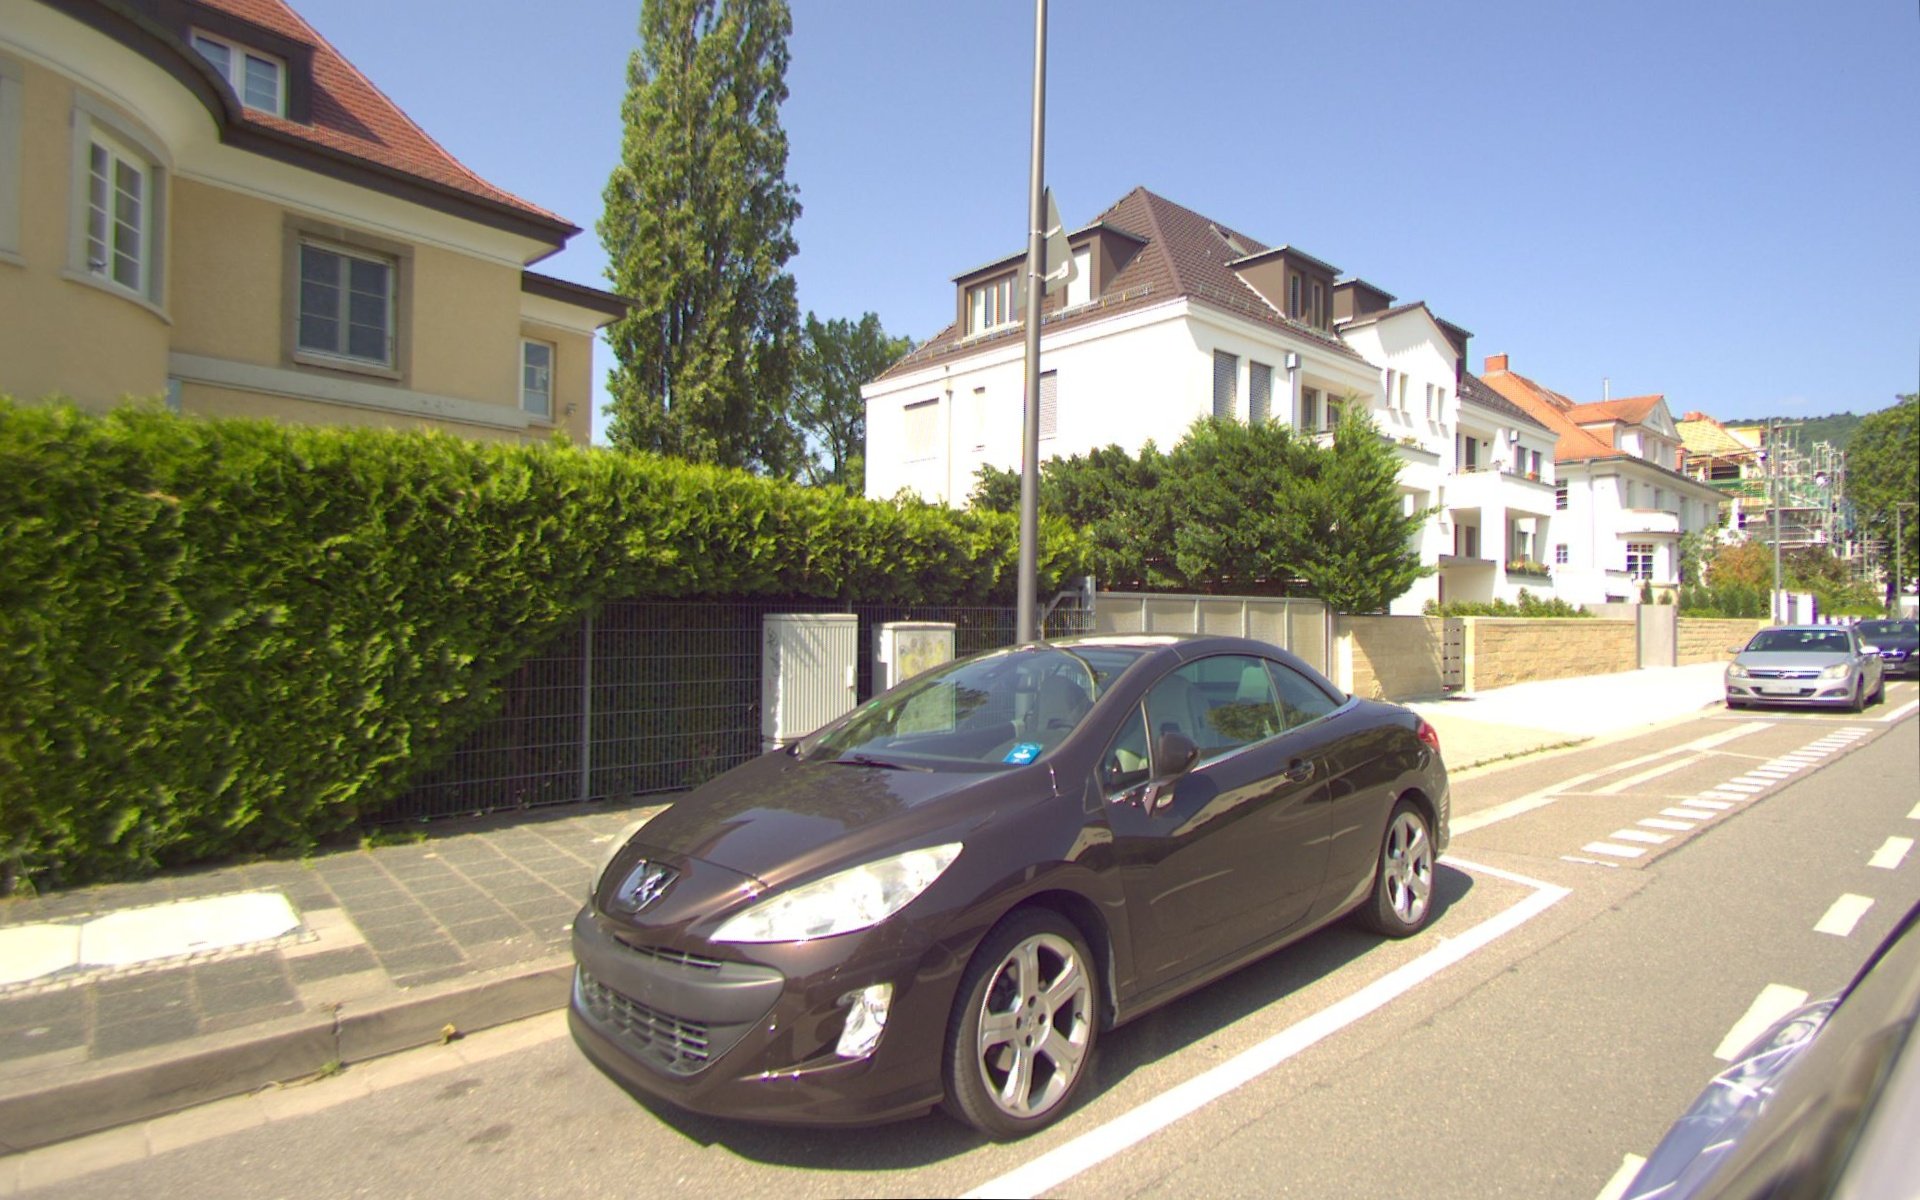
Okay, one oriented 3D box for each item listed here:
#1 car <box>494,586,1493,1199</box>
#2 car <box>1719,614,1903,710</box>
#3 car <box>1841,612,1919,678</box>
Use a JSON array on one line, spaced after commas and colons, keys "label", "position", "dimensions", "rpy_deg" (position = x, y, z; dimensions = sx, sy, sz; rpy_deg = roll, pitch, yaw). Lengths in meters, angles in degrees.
[{"label": "car", "position": [0.529, 0.754, 4.341], "dimensions": [4.272, 1.487, 1.738], "rpy_deg": [0, -3, -43]}, {"label": "car", "position": [14.332, 0.975, 16.972], "dimensions": [4.006, 1.346, 1.738], "rpy_deg": [-1, -3, -42]}, {"label": "car", "position": [22.832, 1.047, 24.566], "dimensions": [4.098, 1.468, 1.723], "rpy_deg": [0, -3, -43]}]
